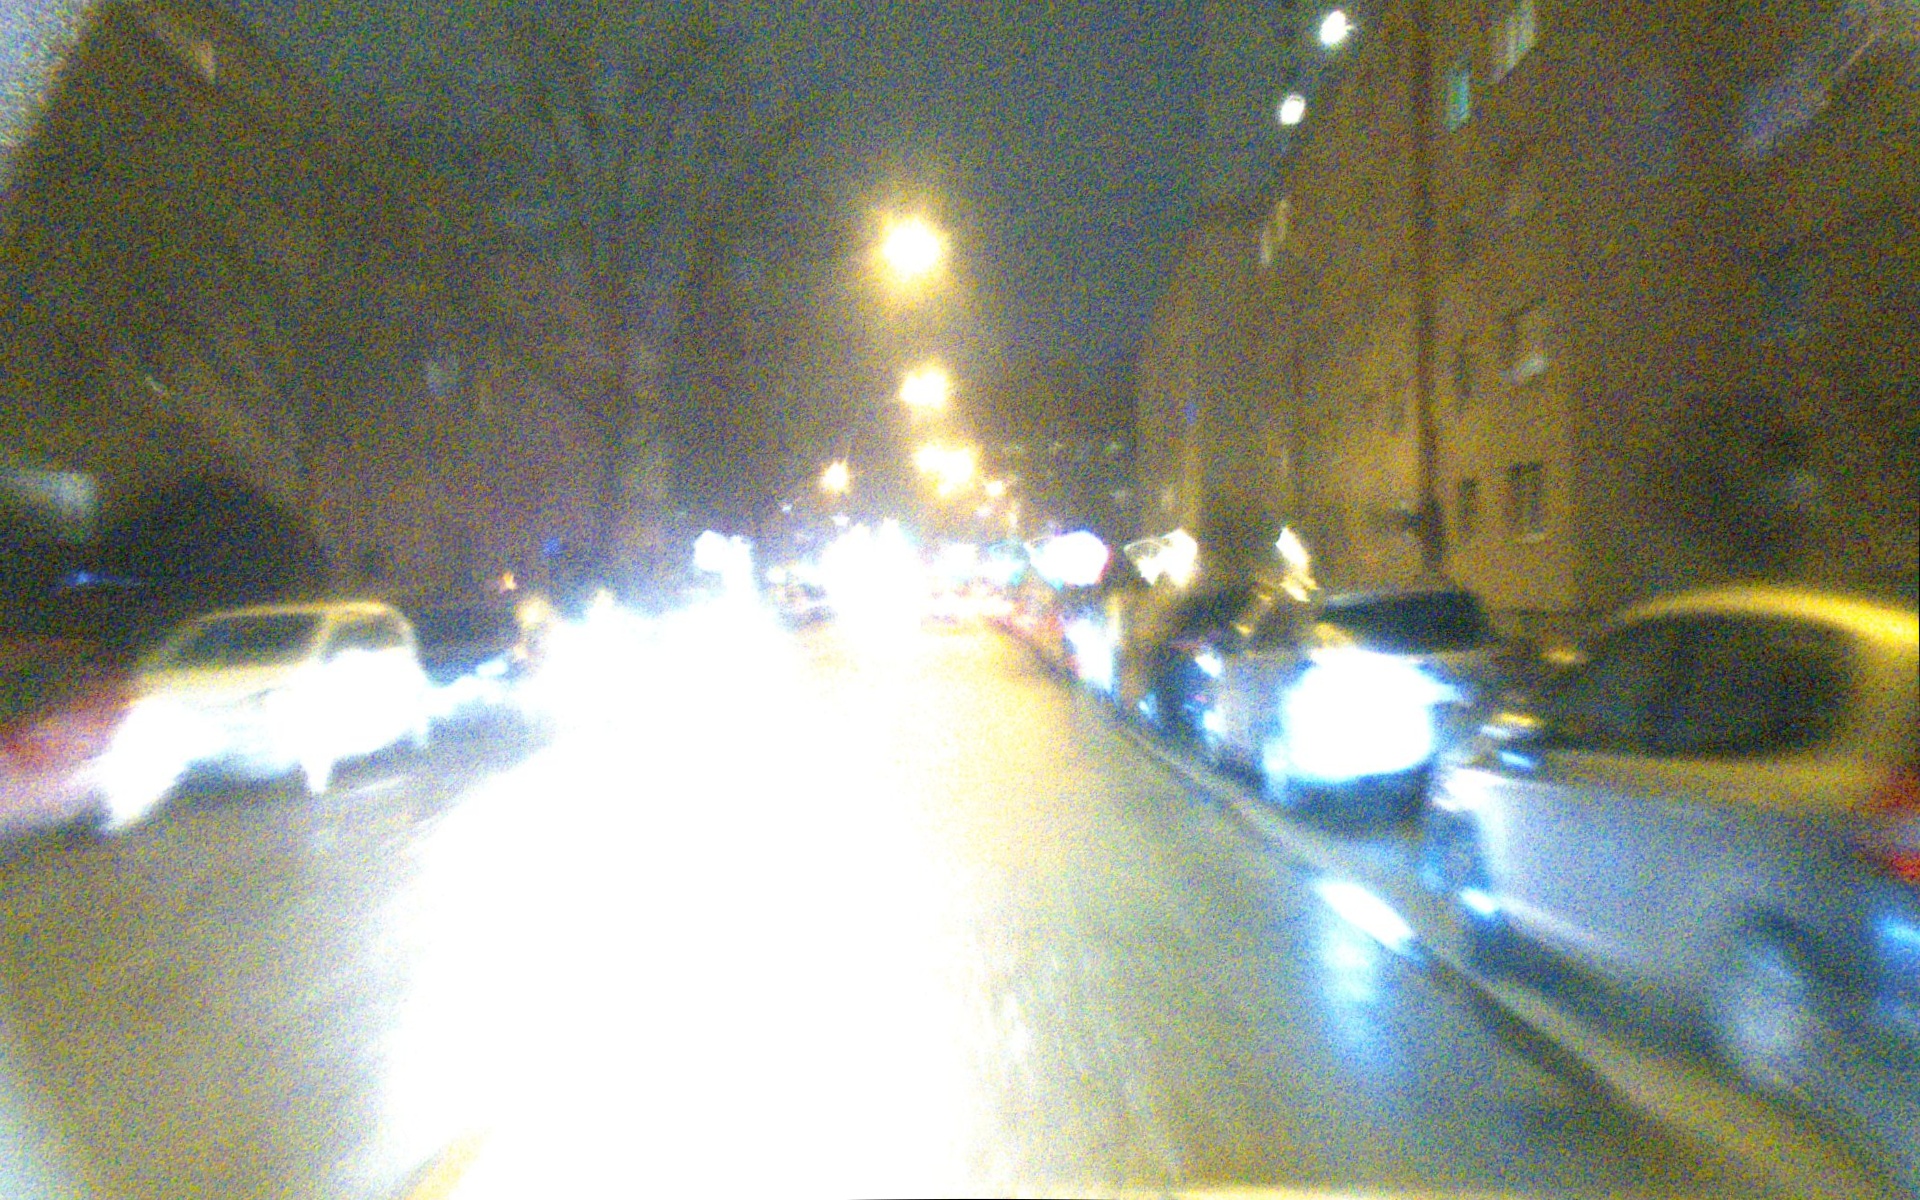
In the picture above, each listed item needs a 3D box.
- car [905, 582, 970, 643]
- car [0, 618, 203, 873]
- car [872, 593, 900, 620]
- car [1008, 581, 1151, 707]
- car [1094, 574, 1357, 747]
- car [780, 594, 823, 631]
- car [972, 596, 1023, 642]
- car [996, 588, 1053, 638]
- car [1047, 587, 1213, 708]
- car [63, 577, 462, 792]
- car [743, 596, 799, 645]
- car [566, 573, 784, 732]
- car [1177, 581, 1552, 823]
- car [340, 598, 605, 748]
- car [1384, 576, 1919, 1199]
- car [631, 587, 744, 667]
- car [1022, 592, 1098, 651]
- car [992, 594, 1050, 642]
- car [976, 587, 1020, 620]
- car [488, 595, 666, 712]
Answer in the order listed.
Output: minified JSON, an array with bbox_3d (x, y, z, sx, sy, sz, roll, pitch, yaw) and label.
[{"bbox_3d":[-0.727,0.401,56.628,2.123,2.006,4.302,0,0,0],"label":"car"},{"bbox_3d":[-5.908,0.794,8.490,1.800,1.290,4.638,-1,0,1],"label":"car"},{"bbox_3d":[-5.941,0.475,132.591,1.994,1.987,5.195,-2,1,-4],"label":"car"},{"bbox_3d":[2.006,0.686,29.452,1.759,1.984,5.850,-1,0,-4],"label":"car"},{"bbox_3d":[2.719,0.559,18.082,1.830,1.607,4.744,-1,0,-4],"label":"car"},{"bbox_3d":[-6.647,0.505,69.659,1.566,1.456,4.003,-3,0,-2],"label":"car"},{"bbox_3d":[1.379,0.659,60.426,1.787,1.575,4.353,-1,0,1],"label":"car"},{"bbox_3d":[2.123,0.387,55.524,1.718,1.575,4.978,-1,0,0],"label":"car"},{"bbox_3d":[2.372,0.616,23.995,1.759,1.575,3.949,-1,0,-4],"label":"car"},{"bbox_3d":[-5.776,0.609,14.274,1.671,1.567,4.059,-1,0,0],"label":"car"},{"bbox_3d":[-6.264,0.653,55.143,1.402,1.486,3.374,-3,0,0],"label":"car"},{"bbox_3d":[-3.087,0.510,18.780,1.671,1.567,4.370,-1,0,0],"label":"car"},{"bbox_3d":[2.964,0.666,13.007,1.759,1.575,3.949,-1,0,-4],"label":"car"},{"bbox_3d":[-5.369,0.721,18.838,1.586,1.443,4.676,-1,0,0],"label":"car"},{"bbox_3d":[2.945,0.676,5.650,1.759,1.499,3.949,-1,0,-4],"label":"car"},{"bbox_3d":[-5.898,0.544,36.255,1.631,1.566,4.391,-3,0,0],"label":"car"},{"bbox_3d":[2.692,0.555,45.352,1.641,1.513,4.277,-1,0,-3],"label":"car"},{"bbox_3d":[1.806,0.513,49.702,1.427,1.329,3.627,-1,0,-3],"label":"car"},{"bbox_3d":[1.742,0.147,76.241,1.785,1.446,4.487,-1,0,-2],"label":"car"},{"bbox_3d":[-5.695,0.737,25.115,1.631,1.567,4.391,-1,0,0],"label":"car"}]
